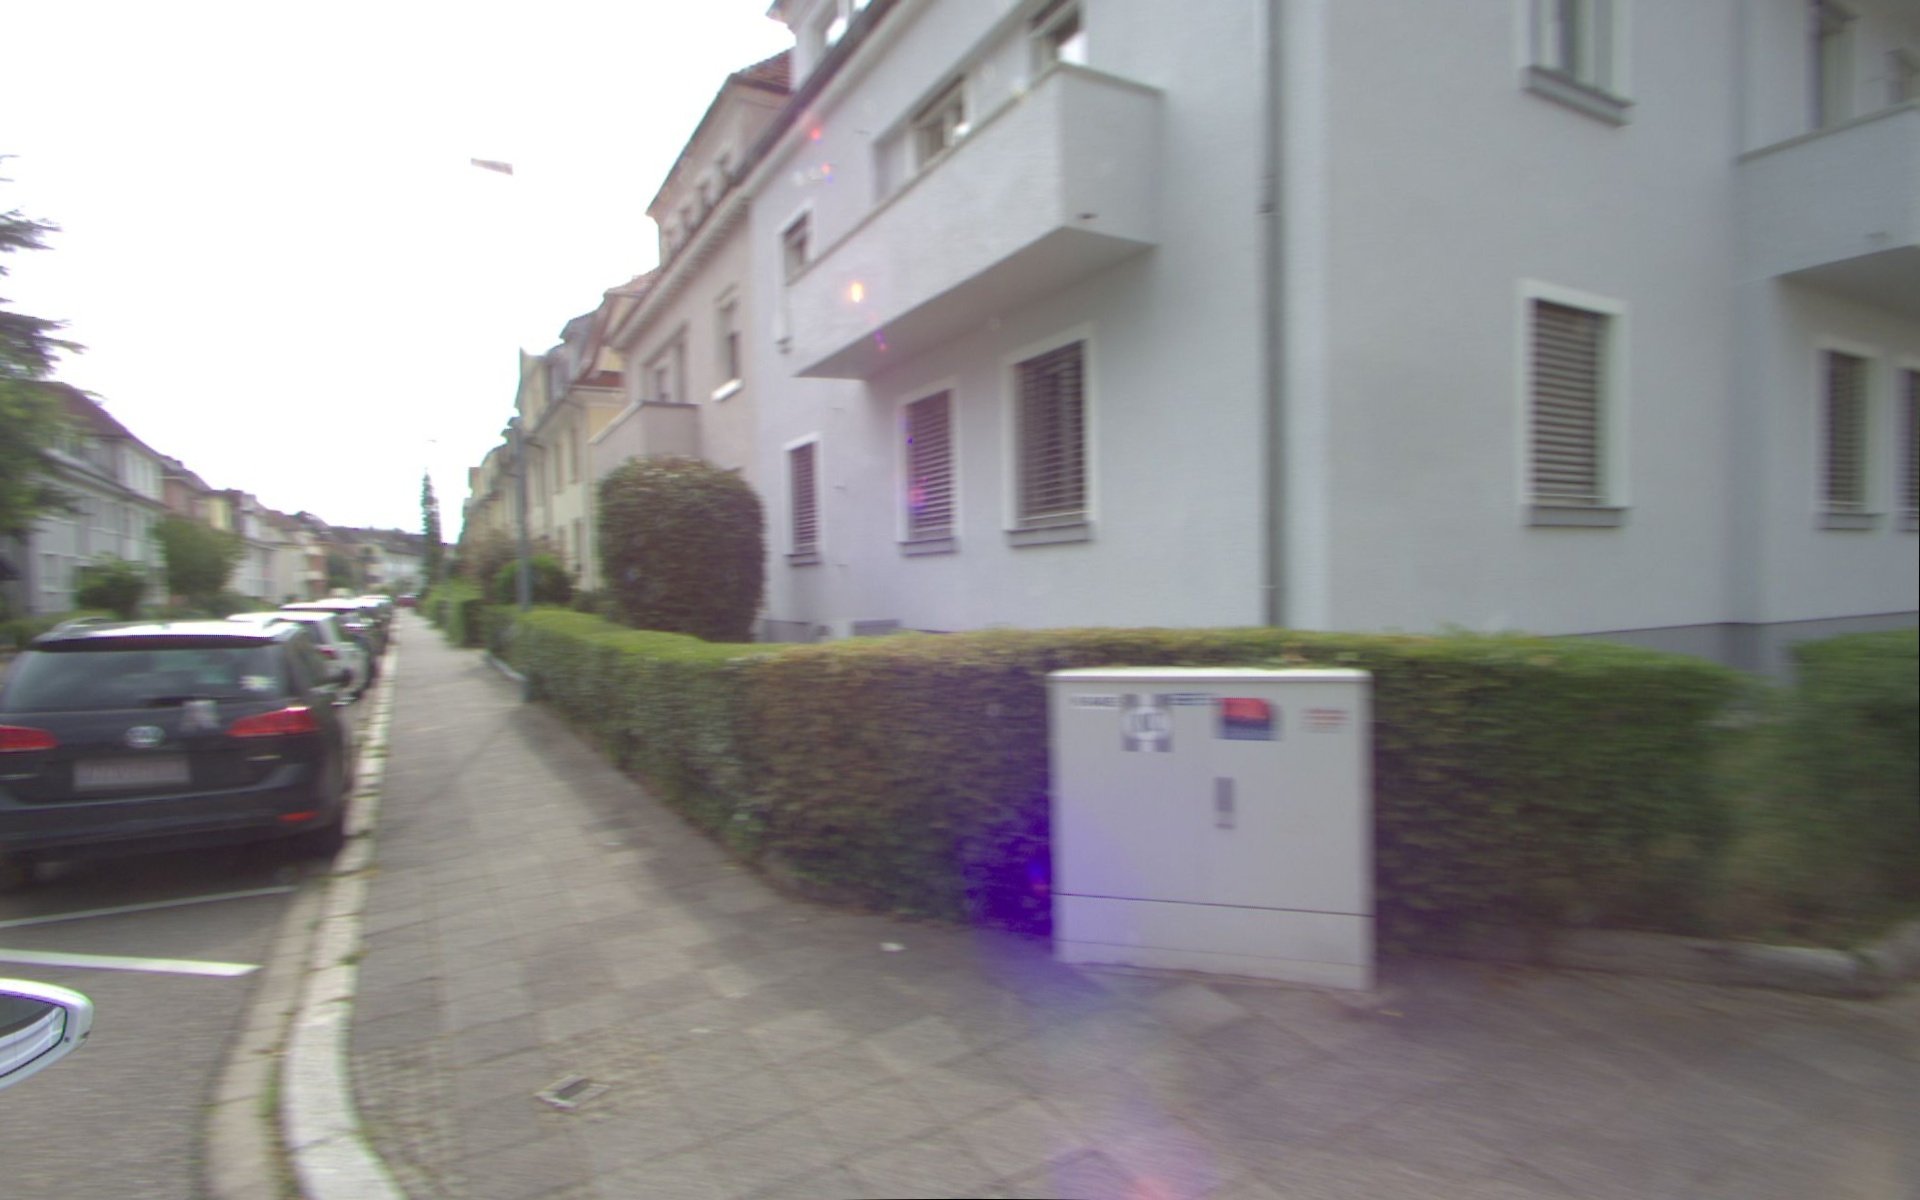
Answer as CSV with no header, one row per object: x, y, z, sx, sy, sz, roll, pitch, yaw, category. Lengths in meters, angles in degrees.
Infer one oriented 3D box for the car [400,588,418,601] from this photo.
-68.927,-0.729,125.197,1.831,1.599,4.155,-2,1,-28,car

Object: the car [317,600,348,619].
-60.252,0.873,96.164,1.968,1.662,3.983,-2,1,-25,car

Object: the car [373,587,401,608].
-46.376,-0.192,81.038,1.832,1.599,4.153,-2,1,-29,car

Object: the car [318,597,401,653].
-17.861,0.687,29.962,1.831,1.491,4.155,-2,1,-28,car

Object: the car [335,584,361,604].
-65.497,-0.653,107.231,1.969,2.041,3.982,-2,1,-27,car

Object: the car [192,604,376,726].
-10.163,0.863,15.372,1.831,1.491,4.155,-2,1,-28,car

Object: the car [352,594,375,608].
-72.810,0.117,122.247,1.968,1.662,3.983,-2,1,-25,car

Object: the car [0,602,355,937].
-5.174,0.799,6.672,1.834,1.491,4.149,-2,2,-32,car

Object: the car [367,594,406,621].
-34.244,0.413,59.885,1.831,1.491,4.155,-2,1,-28,car

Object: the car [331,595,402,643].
-20.581,0.608,34.850,1.831,1.491,4.155,-2,1,-28,car

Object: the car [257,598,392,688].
-12.277,0.734,19.595,1.831,1.491,4.155,-2,1,-28,car

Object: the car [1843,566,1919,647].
18.833,0.099,18.020,1.970,1.484,3.980,-2,1,-28,car
